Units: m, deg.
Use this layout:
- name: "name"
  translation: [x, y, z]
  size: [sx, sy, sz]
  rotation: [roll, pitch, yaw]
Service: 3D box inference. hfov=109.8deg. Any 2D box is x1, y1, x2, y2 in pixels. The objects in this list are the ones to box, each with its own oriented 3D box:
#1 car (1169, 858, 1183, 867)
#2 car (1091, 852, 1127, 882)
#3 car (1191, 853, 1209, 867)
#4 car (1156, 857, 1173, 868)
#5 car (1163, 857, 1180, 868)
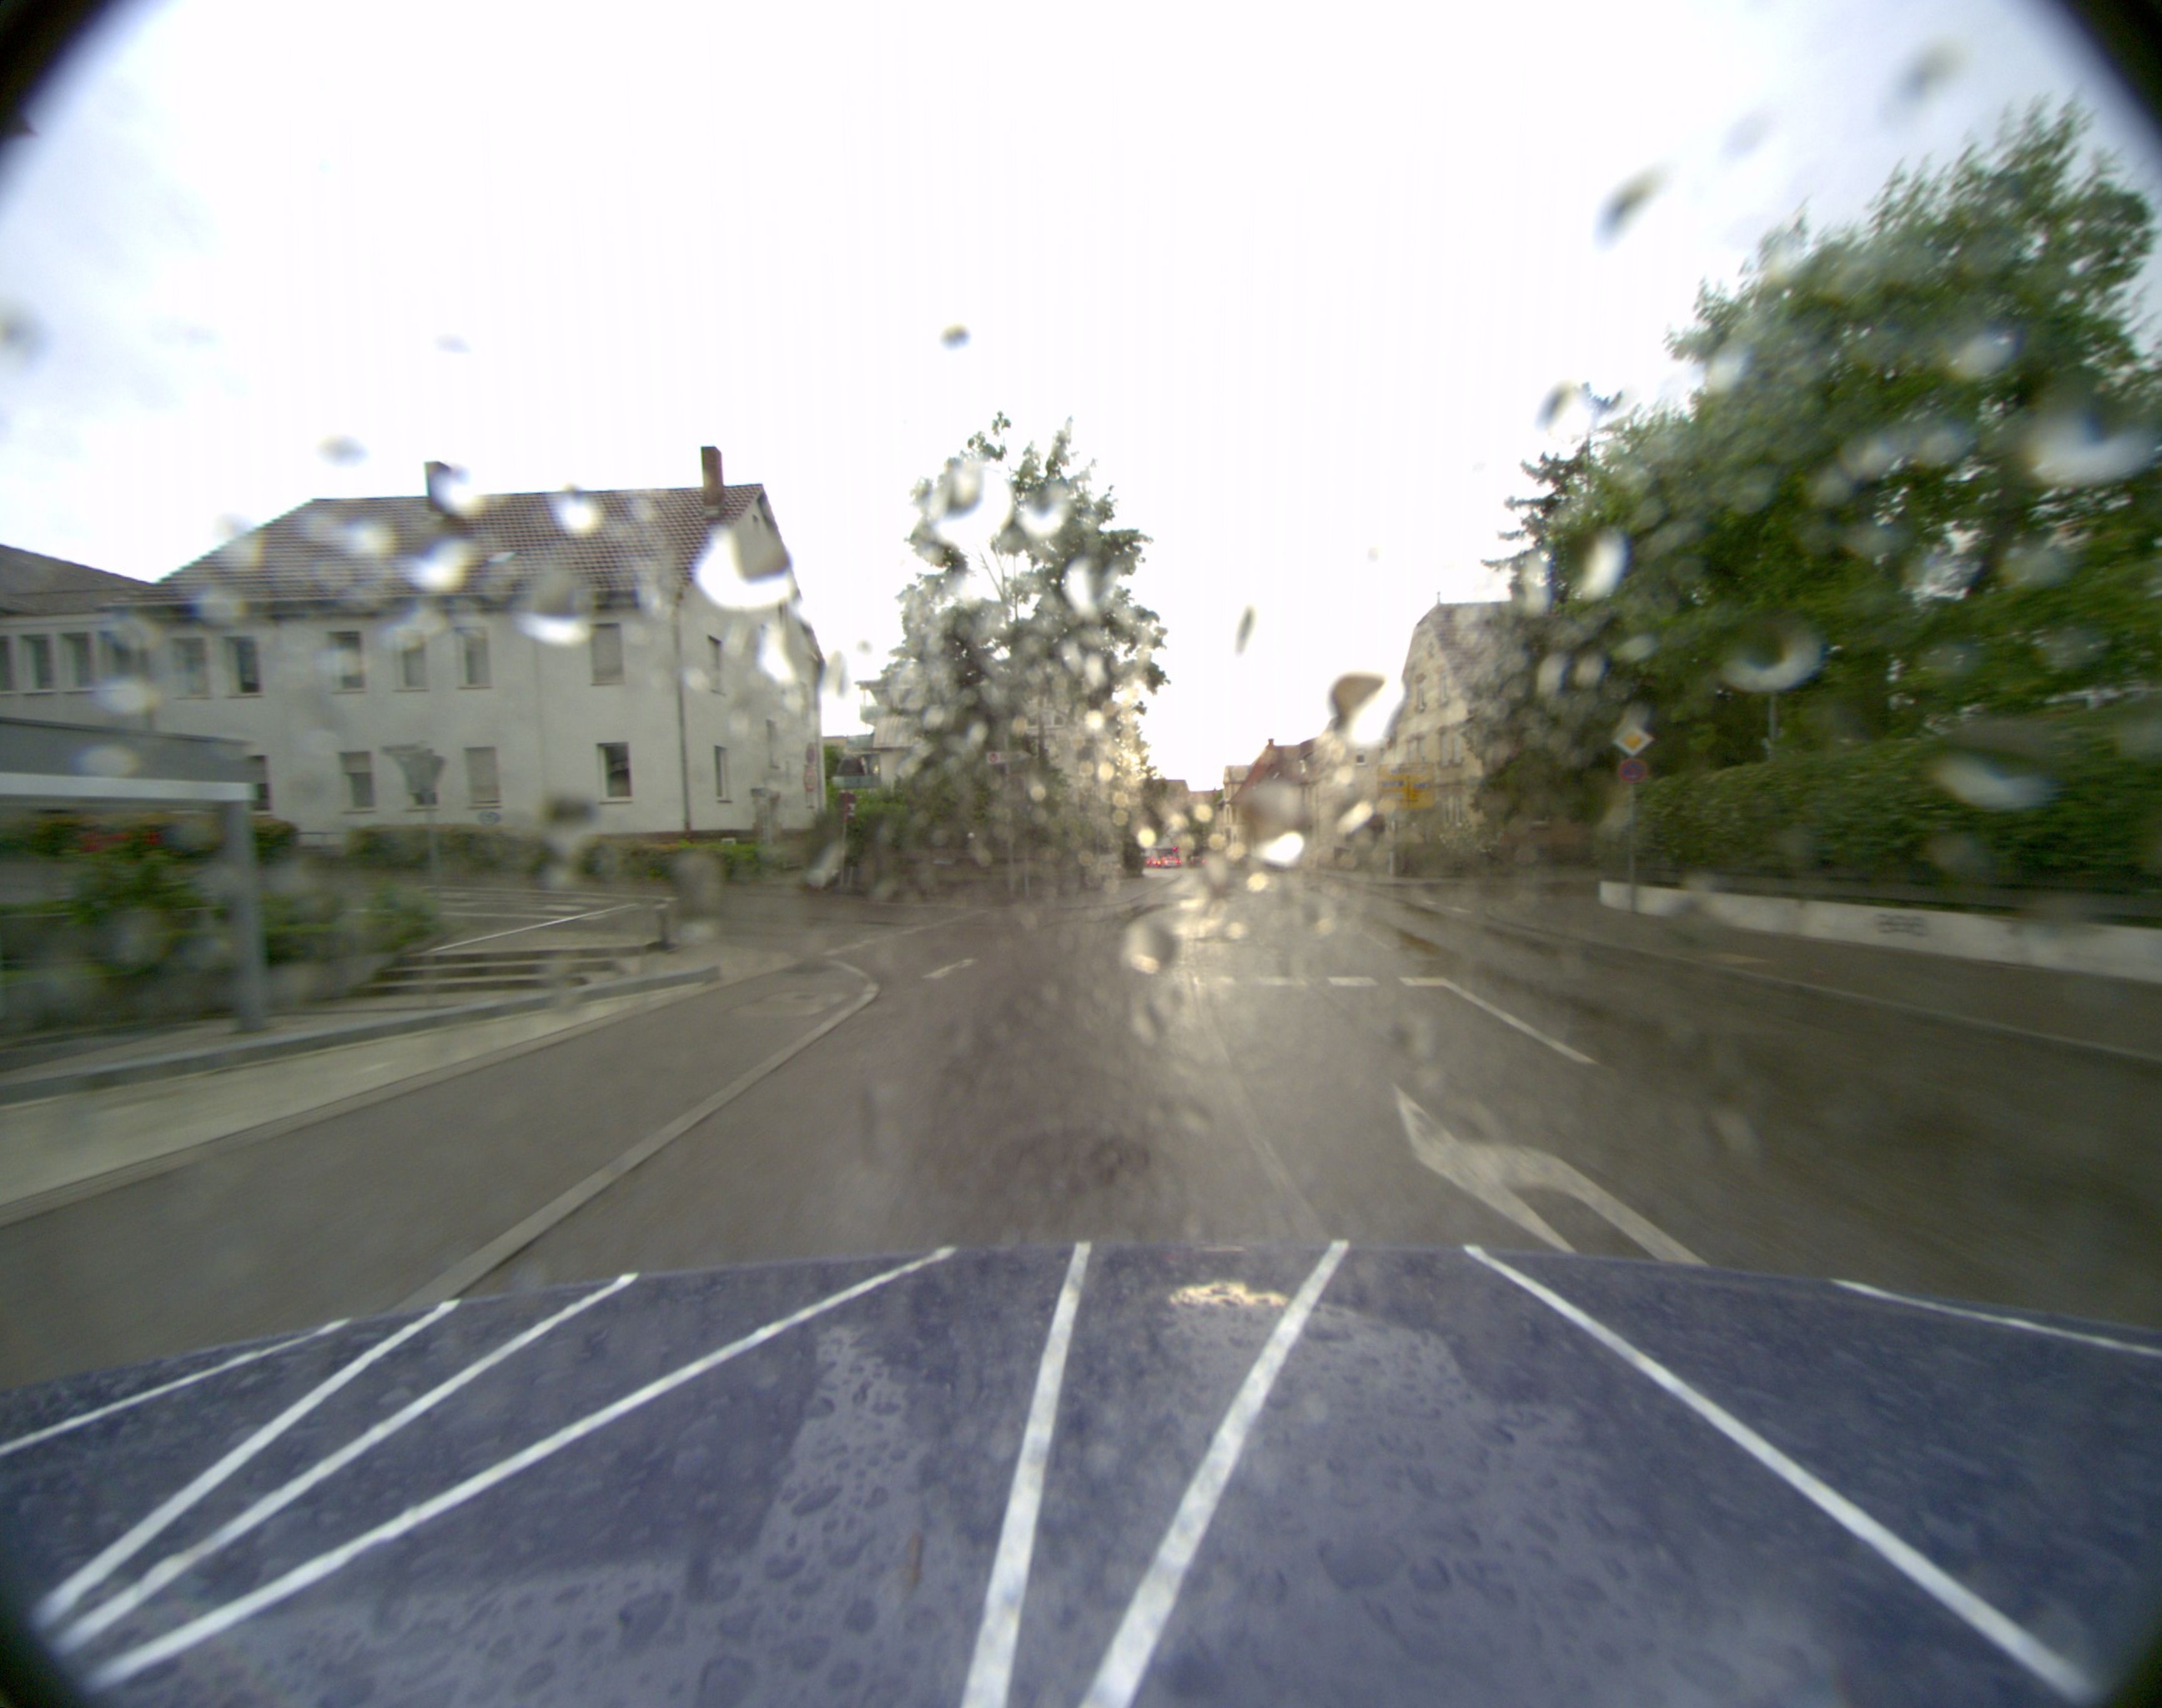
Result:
- name: "car"
  translation: [15.164, 1.300, 121.255]
  size: [1.742, 1.346, 4.060]
  rotation: [-2, -1, 0]
- name: "car"
  translation: [1.714, 0.745, 44.880]
  size: [1.784, 1.561, 4.730]
  rotation: [-3, 0, 5]
- name: "car"
  translation: [14.795, 0.764, 94.550]
  size: [1.749, 1.562, 3.814]
  rotation: [-5, 0, 3]
- name: "car"
  translation: [11.883, 1.214, 108.253]
  size: [1.803, 1.431, 4.689]
  rotation: [-2, -1, 0]
- name: "car"
  translation: [11.934, 1.122, 100.096]
  size: [1.803, 1.431, 4.690]
  rotation: [-2, -1, 2]
